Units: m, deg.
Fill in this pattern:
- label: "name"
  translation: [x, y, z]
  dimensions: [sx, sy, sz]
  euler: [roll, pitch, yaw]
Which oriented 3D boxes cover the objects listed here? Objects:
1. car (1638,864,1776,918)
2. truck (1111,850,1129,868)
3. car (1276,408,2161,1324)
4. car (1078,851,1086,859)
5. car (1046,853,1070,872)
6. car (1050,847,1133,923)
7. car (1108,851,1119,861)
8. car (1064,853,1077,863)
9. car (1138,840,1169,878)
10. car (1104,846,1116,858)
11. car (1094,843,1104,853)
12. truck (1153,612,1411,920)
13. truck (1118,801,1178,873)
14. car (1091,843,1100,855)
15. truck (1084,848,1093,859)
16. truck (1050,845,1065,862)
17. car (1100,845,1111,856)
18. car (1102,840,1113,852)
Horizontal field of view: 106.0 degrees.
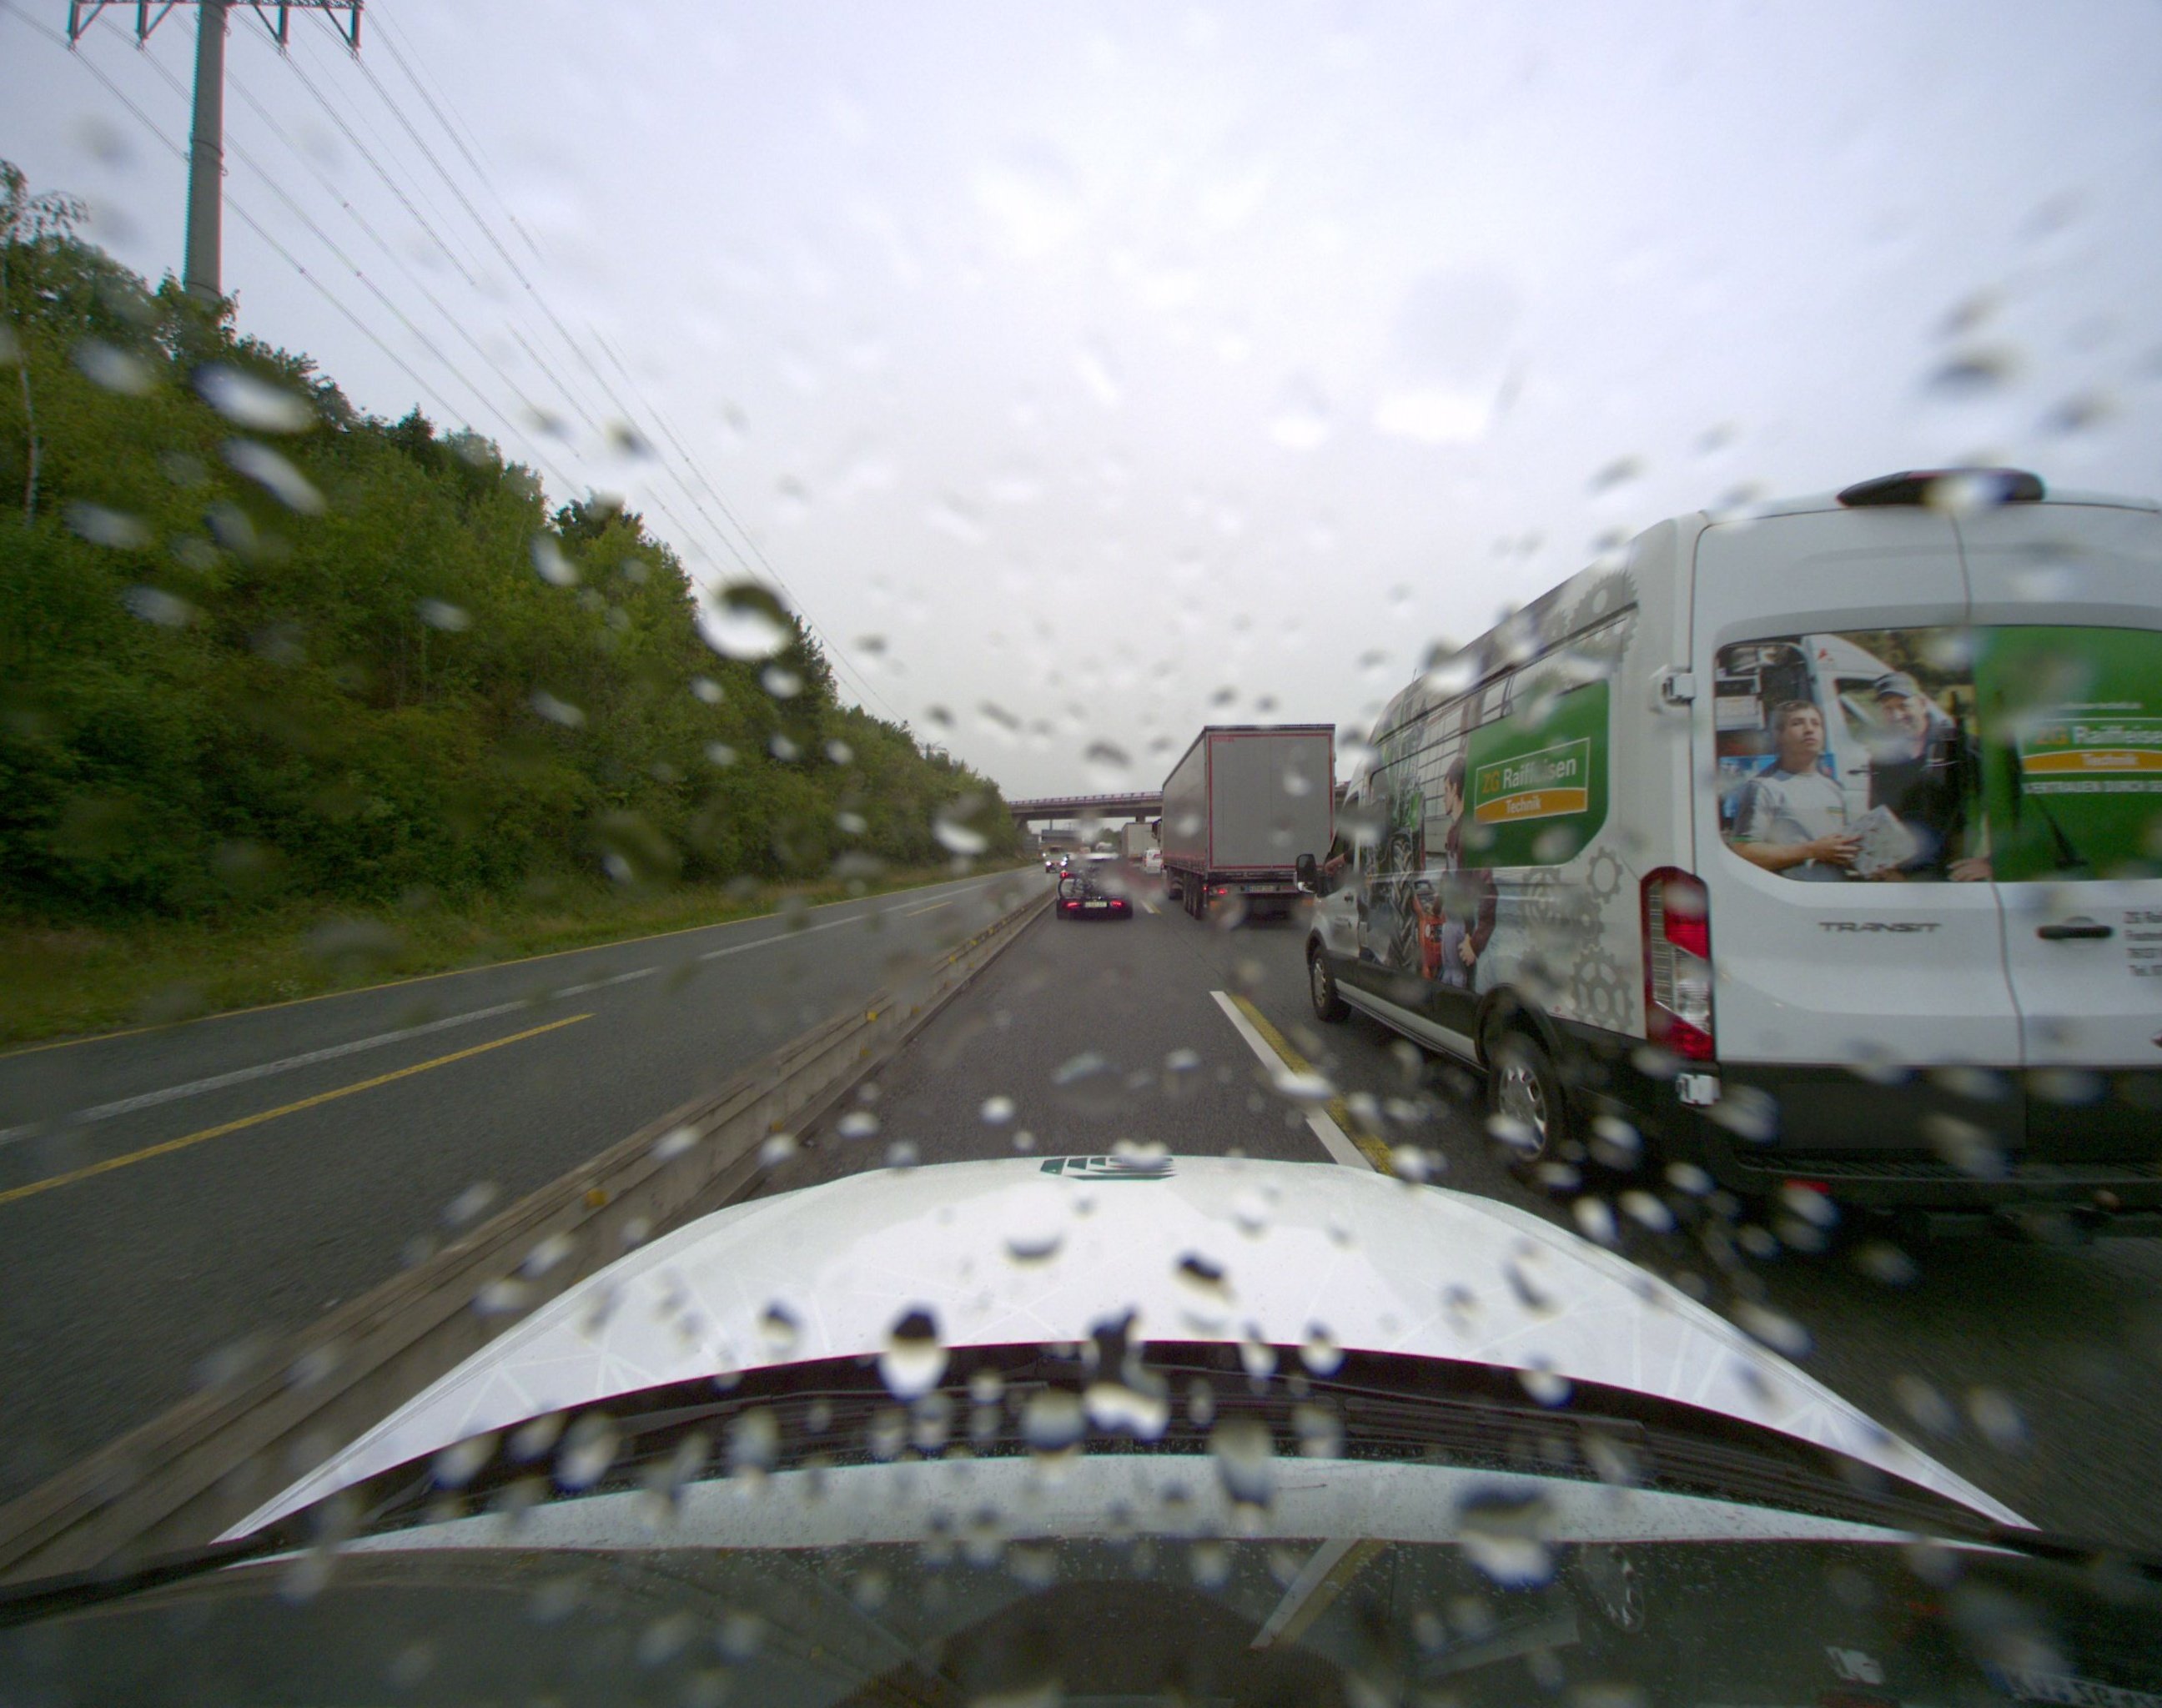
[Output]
- label: "car"
  translation: [22.604, 1.269, 29.651]
  dimensions: [1.723, 1.769, 4.330]
  euler: [-1, 0, 1]
- label: "truck"
  translation: [4.413, 0.535, 93.451]
  dimensions: [1.986, 2.014, 4.001]
  euler: [-1, 0, 2]
- label: "car"
  translation: [2.977, 0.050, 5.447]
  dimensions: [2.135, 2.676, 6.121]
  euler: [-1, 0, 3]
- label: "car"
  translation: [0.264, 0.217, 181.609]
  dimensions: [1.804, 1.824, 4.635]
  euler: [-1, 0, 0]
- label: "car"
  translation: [-1.929, 0.714, 69.259]
  dimensions: [1.788, 1.555, 4.001]
  euler: [-1, 0, 2]
- label: "car"
  translation: [0.353, 0.692, 20.179]
  dimensions: [1.803, 1.637, 4.639]
  euler: [-1, 0, 3]
- label: "car"
  translation: [4.963, 0.350, 123.209]
  dimensions: [1.632, 1.497, 3.667]
  euler: [-1, 0, 2]
- label: "car"
  translation: [-1.671, 0.708, 133.350]
  dimensions: [1.803, 1.633, 4.121]
  euler: [-1, 0, 3]
- label: "car"
  translation: [4.358, 0.304, 49.417]
  dimensions: [1.663, 2.180, 4.538]
  euler: [-1, 0, 3]
- label: "car"
  translation: [4.927, -0.310, 136.890]
  dimensions: [1.986, 2.014, 4.002]
  euler: [-1, 0, 2]
- label: "car"
  translation: [3.941, -1.230, 175.861]
  dimensions: [1.986, 2.126, 4.528]
  euler: [-1, 0, 2]
- label: "truck"
  translation: [4.615, -1.573, 25.331]
  dimensions: [3.963, 5.673, 20.390]
  euler: [-1, 0, 3]
- label: "truck"
  translation: [5.855, -1.295, 75.324]
  dimensions: [4.723, 5.673, 20.390]
  euler: [-1, 0, 3]
- label: "car"
  translation: [3.337, -1.162, 184.989]
  dimensions: [1.986, 2.544, 4.528]
  euler: [-1, 0, 2]
- label: "truck"
  translation: [2.222, -0.195, 248.075]
  dimensions: [2.526, 3.352, 12.051]
  euler: [-1, 0, 1]
- label: "truck"
  translation: [-4.958, -0.040, 175.230]
  dimensions: [2.526, 3.352, 12.051]
  euler: [-1, 0, 1]
- label: "car"
  translation: [4.501, -0.656, 150.335]
  dimensions: [1.986, 2.014, 4.002]
  euler: [-1, 0, 2]
- label: "car"
  translation: [5.268, -1.493, 163.269]
  dimensions: [2.231, 2.307, 4.574]
  euler: [-1, 0, 2]
